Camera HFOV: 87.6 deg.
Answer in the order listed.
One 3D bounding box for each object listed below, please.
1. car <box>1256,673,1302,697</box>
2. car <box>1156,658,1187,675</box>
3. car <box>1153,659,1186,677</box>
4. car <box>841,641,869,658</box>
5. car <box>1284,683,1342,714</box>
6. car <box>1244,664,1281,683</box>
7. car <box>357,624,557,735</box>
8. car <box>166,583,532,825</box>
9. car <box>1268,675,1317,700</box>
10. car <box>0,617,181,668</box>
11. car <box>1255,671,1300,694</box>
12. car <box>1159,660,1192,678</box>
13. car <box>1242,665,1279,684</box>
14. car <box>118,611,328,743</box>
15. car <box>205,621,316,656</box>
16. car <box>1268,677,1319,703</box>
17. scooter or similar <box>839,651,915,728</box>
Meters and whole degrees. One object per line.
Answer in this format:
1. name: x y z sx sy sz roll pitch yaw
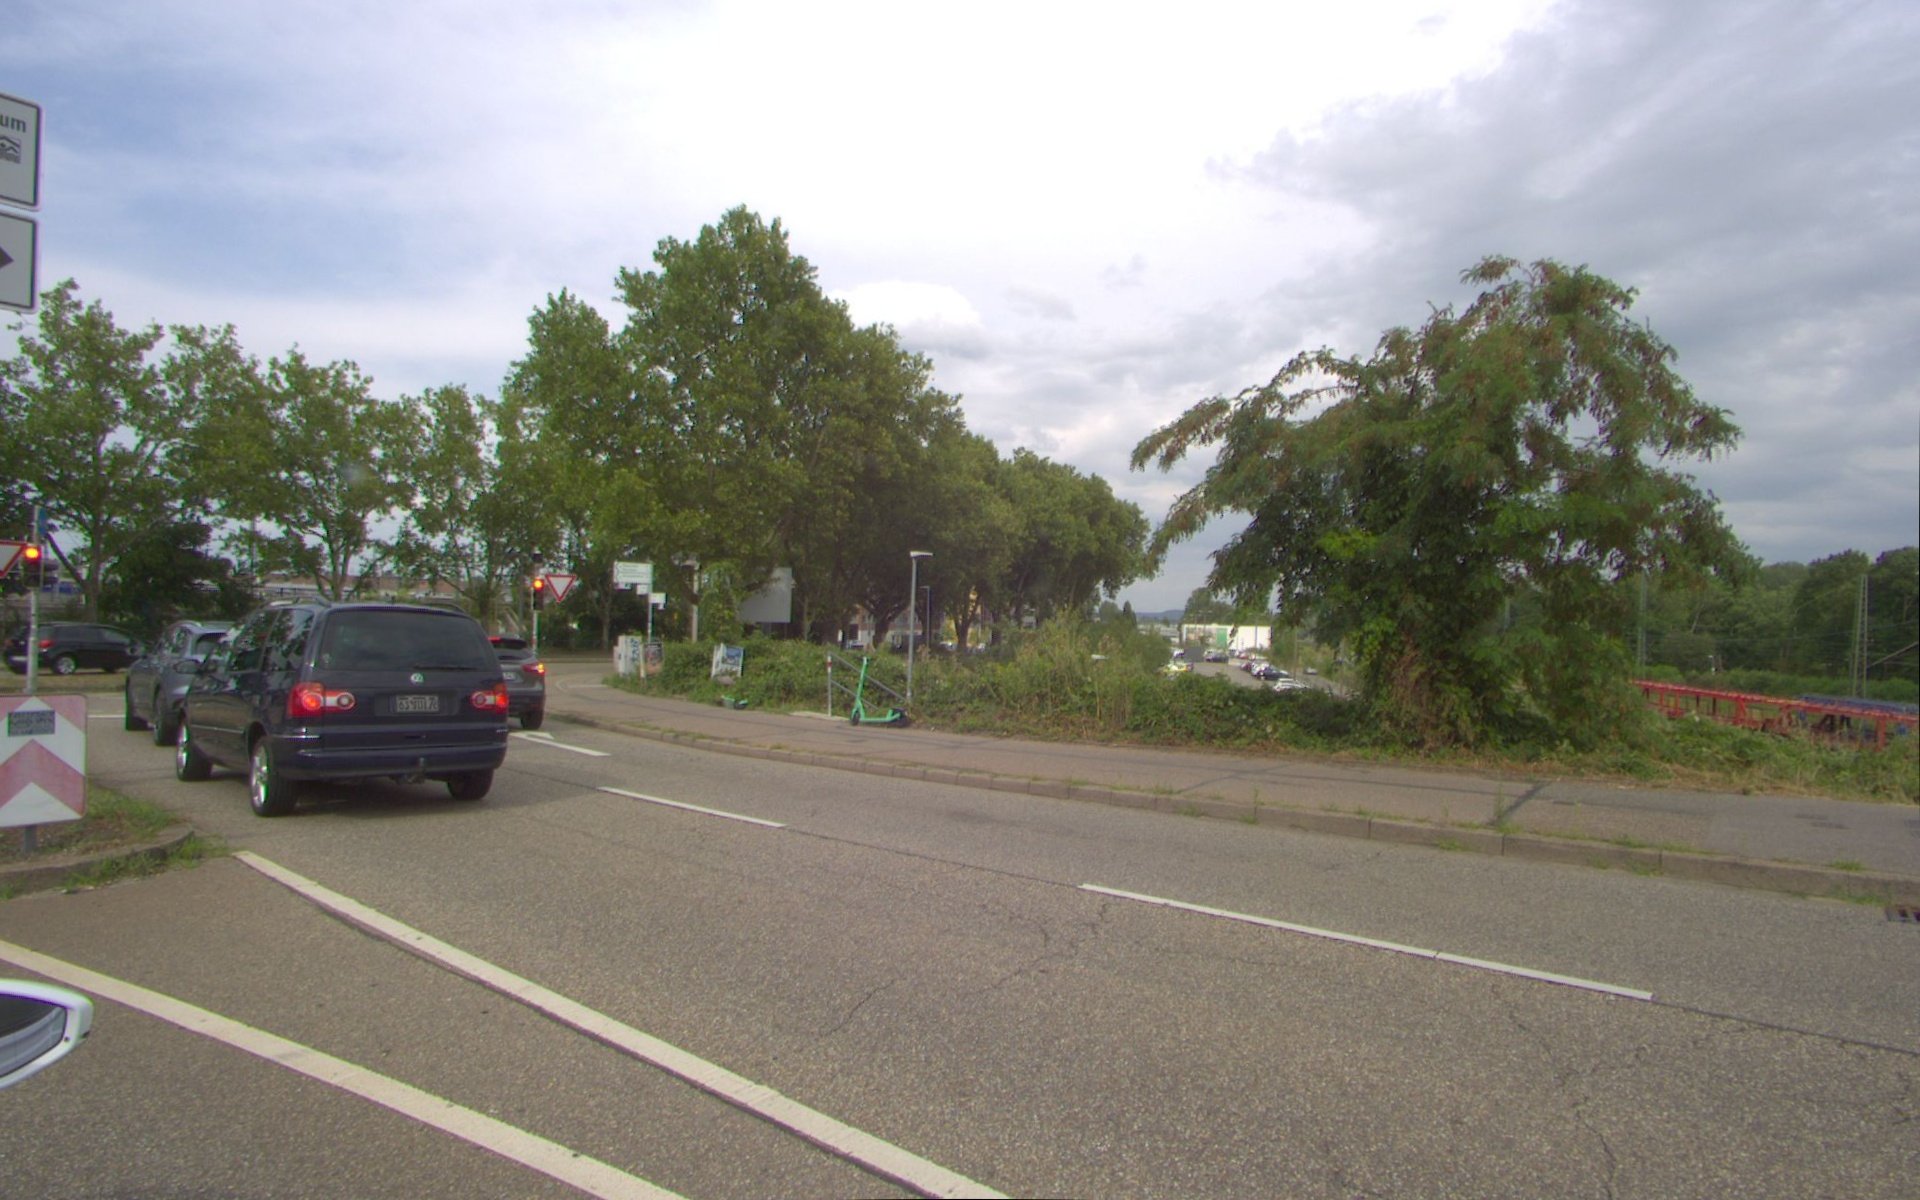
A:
1. car: 30.178 8.003 94.817 3.923 2.040 1.762 1 -1 10
2. car: 28.022 8.827 132.501 3.926 2.040 1.761 1 -1 16
3. car: 26.719 8.682 127.671 3.926 2.040 1.761 1 -1 16
4. car: -11.949 5.611 114.006 1.778 1.745 3.996 0 -1 16
5. car: 26.897 7.493 76.368 3.923 2.040 1.762 1 -1 10
6. car: 36.125 8.725 119.576 3.923 2.040 1.762 1 -1 10
7. car: -8.683 1.300 17.126 4.094 1.663 1.742 -2 -4 44
8. car: -5.783 0.848 9.270 4.092 1.746 1.743 -1 -4 42
9. car: 30.027 7.898 90.496 3.923 2.040 1.762 1 -1 10
10. car: -25.462 1.219 29.369 1.670 1.385 4.070 1 -1 9
11. car: 31.229 8.116 98.588 3.923 2.040 1.762 1 -1 10
12. car: 26.848 8.618 124.772 3.926 2.040 1.761 1 -1 16
13. car: 34.701 8.598 115.631 3.923 2.040 1.762 1 -1 10
14. car: -10.531 1.033 14.197 4.113 1.604 1.682 -2 -4 44
15. car: -31.149 1.694 44.741 1.670 1.466 3.963 0 -1 12
16. car: 28.974 7.795 87.183 3.923 2.040 1.762 1 -1 10
17. scooter or similar: -1.363 1.455 16.441 1.262 1.198 0.396 -1 -1 32
